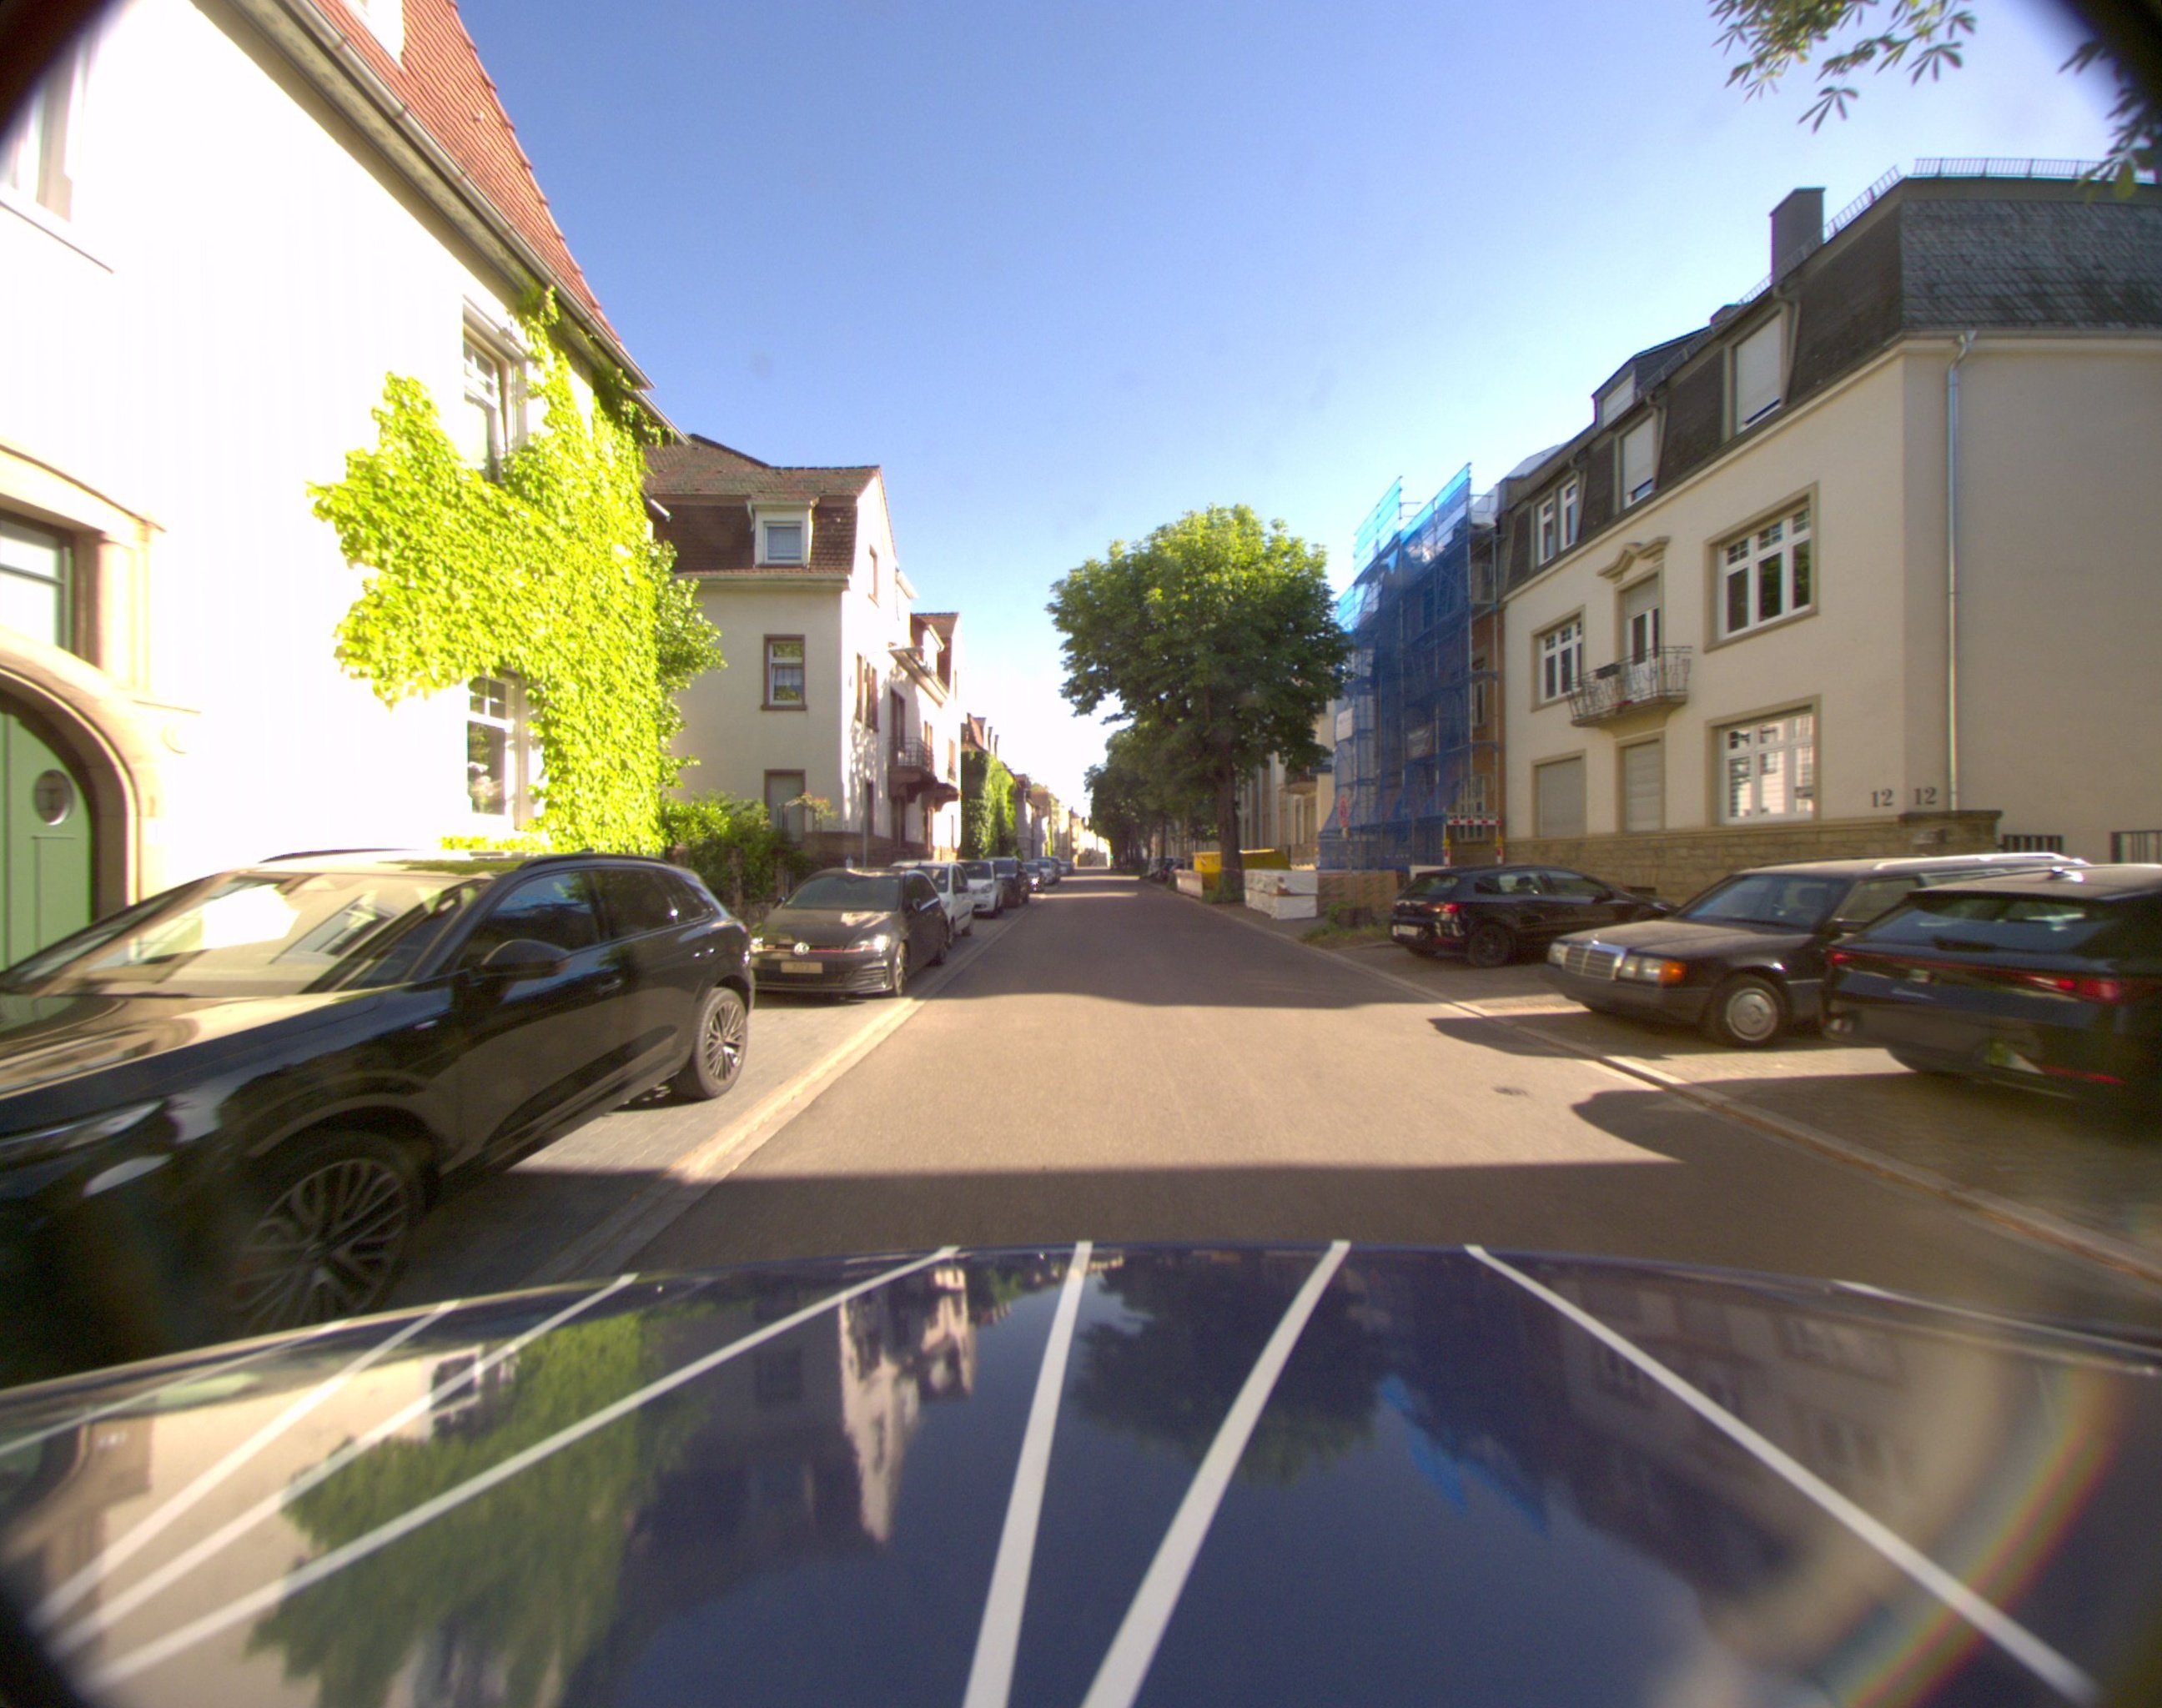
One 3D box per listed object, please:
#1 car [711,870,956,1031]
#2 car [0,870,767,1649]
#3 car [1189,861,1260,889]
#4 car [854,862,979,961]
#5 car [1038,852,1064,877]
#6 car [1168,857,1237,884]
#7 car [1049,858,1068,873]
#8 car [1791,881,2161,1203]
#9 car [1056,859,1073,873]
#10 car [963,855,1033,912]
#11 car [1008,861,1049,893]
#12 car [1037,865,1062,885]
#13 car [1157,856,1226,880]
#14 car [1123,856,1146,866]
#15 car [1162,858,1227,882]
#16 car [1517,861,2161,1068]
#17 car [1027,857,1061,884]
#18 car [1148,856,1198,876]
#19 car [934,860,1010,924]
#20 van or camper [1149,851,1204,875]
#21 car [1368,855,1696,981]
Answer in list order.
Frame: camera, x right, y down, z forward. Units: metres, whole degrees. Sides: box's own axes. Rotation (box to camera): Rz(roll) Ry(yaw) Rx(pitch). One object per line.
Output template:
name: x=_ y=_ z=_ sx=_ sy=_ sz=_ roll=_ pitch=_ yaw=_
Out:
car: x=-2.825 y=1.012 z=9.708 sx=1.713 sy=1.427 sz=4.192 roll=2 pitch=1 yaw=0
car: x=-3.195 y=0.916 z=3.319 sx=1.796 sy=1.511 sz=4.366 roll=1 pitch=1 yaw=0
car: x=7.750 y=1.113 z=41.272 sx=3.558 sy=1.440 sz=1.695 roll=1 pitch=0 yaw=1
car: x=-2.963 y=0.975 z=14.353 sx=1.579 sy=1.540 sz=3.468 roll=1 pitch=1 yaw=0
car: x=-2.382 y=0.839 z=60.961 sx=1.857 sy=1.897 sz=4.851 roll=0 pitch=0 yaw=1
car: x=6.982 y=0.963 z=43.812 sx=3.735 sy=1.456 sz=1.715 roll=1 pitch=-1 yaw=2
car: x=-2.354 y=1.164 z=80.199 sx=1.813 sy=1.546 sz=4.106 roll=0 pitch=0 yaw=1
car: x=7.015 y=0.904 z=4.421 sx=4.198 sy=1.432 sz=1.713 roll=0 pitch=0 yaw=-1
car: x=-1.938 y=1.358 z=89.726 sx=1.822 sy=1.529 sz=4.161 roll=-2 pitch=0 yaw=1
car: x=-2.738 y=0.928 z=26.073 sx=1.782 sy=1.686 sz=4.320 roll=-2 pitch=1 yaw=1
car: x=-2.530 y=1.071 z=37.302 sx=1.648 sy=1.445 sz=4.503 roll=-1 pitch=0 yaw=0
car: x=-2.234 y=1.493 z=55.227 sx=1.641 sy=1.413 sz=4.008 roll=0 pitch=0 yaw=0
car: x=7.091 y=0.898 z=48.981 sx=4.150 sy=1.392 sz=1.710 roll=-1 pitch=0 yaw=0
car: x=8.294 y=1.105 z=118.737 sx=3.496 sy=1.420 sz=1.542 roll=0 pitch=0 yaw=0
car: x=6.911 y=0.957 z=46.490 sx=3.757 sy=1.422 sz=1.646 roll=1 pitch=0 yaw=1
car: x=6.776 y=0.872 z=6.911 sx=4.601 sy=1.597 sz=1.833 roll=0 pitch=0 yaw=-2
car: x=-2.292 y=1.037 z=48.351 sx=1.872 sy=1.635 sz=4.199 roll=1 pitch=0 yaw=1
car: x=7.256 y=0.922 z=59.920 sx=3.734 sy=1.507 sz=1.722 roll=-1 pitch=0 yaw=-1
car: x=-2.948 y=0.994 z=21.028 sx=1.629 sy=1.540 sz=2.869 roll=-1 pitch=1 yaw=0
van or camper: x=7.212 y=0.725 z=57.617 sx=3.954 sy=1.762 sz=1.809 roll=-1 pitch=-1 yaw=0
car: x=6.593 y=0.855 z=11.337 sx=3.883 sy=1.505 sz=1.832 roll=-3 pitch=0 yaw=-8
